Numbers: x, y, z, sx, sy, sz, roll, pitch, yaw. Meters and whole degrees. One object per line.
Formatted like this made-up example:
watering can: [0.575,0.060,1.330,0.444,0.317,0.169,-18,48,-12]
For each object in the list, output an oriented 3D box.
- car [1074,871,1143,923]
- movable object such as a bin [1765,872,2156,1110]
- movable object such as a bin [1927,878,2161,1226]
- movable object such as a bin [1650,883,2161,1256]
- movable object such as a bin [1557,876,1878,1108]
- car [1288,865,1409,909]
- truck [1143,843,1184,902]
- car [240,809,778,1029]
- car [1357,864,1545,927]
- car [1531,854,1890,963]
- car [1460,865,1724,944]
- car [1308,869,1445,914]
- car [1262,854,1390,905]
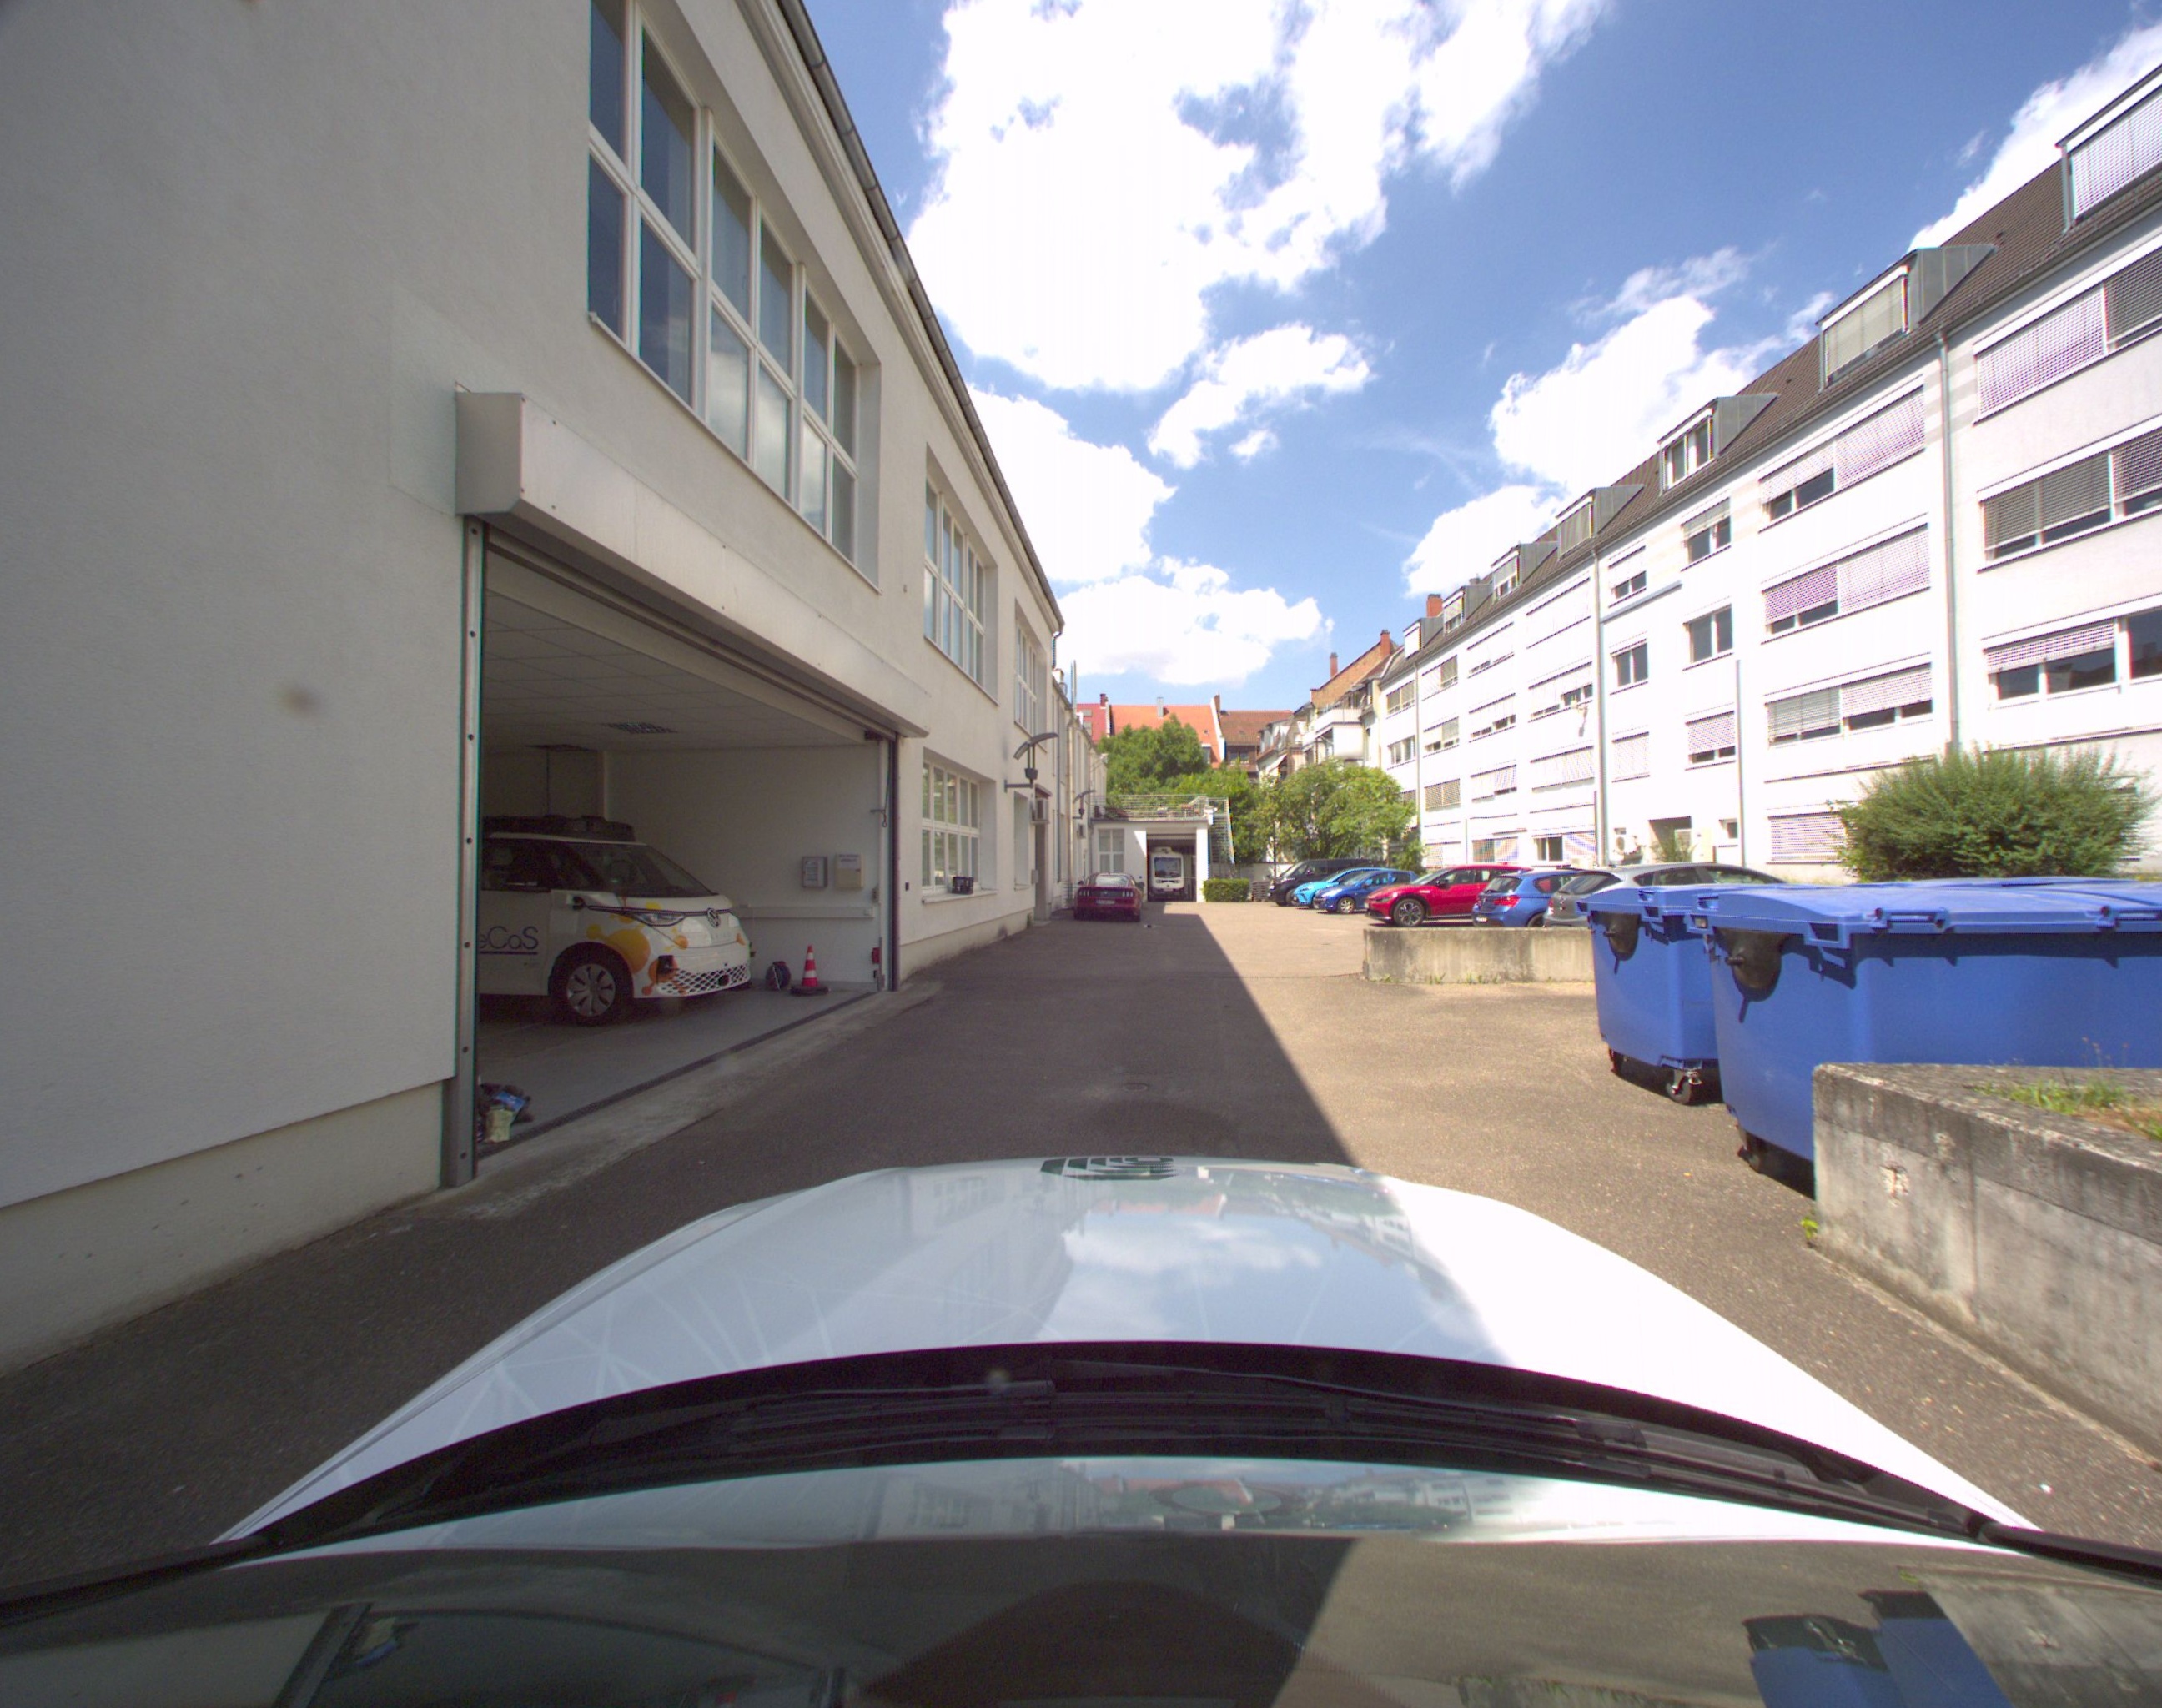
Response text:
car: [0.894,1.217,24.221,1.790,1.390,4.006,0,-1,5]
movable object such as a bin: [5.464,0.791,5.200,1.210,1.327,1.162,-1,-1,4]
movable object such as a bin: [4.858,0.781,3.501,1.209,1.327,1.163,-1,-1,8]
movable object such as a bin: [3.571,0.812,3.603,1.331,1.327,1.163,-1,-1,8]
movable object such as a bin: [4.045,0.825,5.333,1.187,1.327,1.162,-1,-1,4]
car: [9.890,1.211,30.342,3.969,1.534,1.806,-1,-1,4]
truck: [4.316,0.985,43.055,1.782,2.937,4.653,0,-1,1]
car: [-5.893,0.601,8.752,4.456,2.025,1.984,0,-1,6]
car: [9.289,1.030,20.721,3.969,1.478,1.806,-1,-1,4]
car: [9.312,0.786,12.347,3.969,1.478,1.806,-1,-1,4]
car: [9.773,0.945,15.855,3.969,1.390,1.806,-1,-1,4]
car: [9.829,1.245,27.347,3.969,1.390,1.806,-1,-1,4]
car: [9.963,1.042,33.399,4.656,1.958,2.079,-1,-1,4]
